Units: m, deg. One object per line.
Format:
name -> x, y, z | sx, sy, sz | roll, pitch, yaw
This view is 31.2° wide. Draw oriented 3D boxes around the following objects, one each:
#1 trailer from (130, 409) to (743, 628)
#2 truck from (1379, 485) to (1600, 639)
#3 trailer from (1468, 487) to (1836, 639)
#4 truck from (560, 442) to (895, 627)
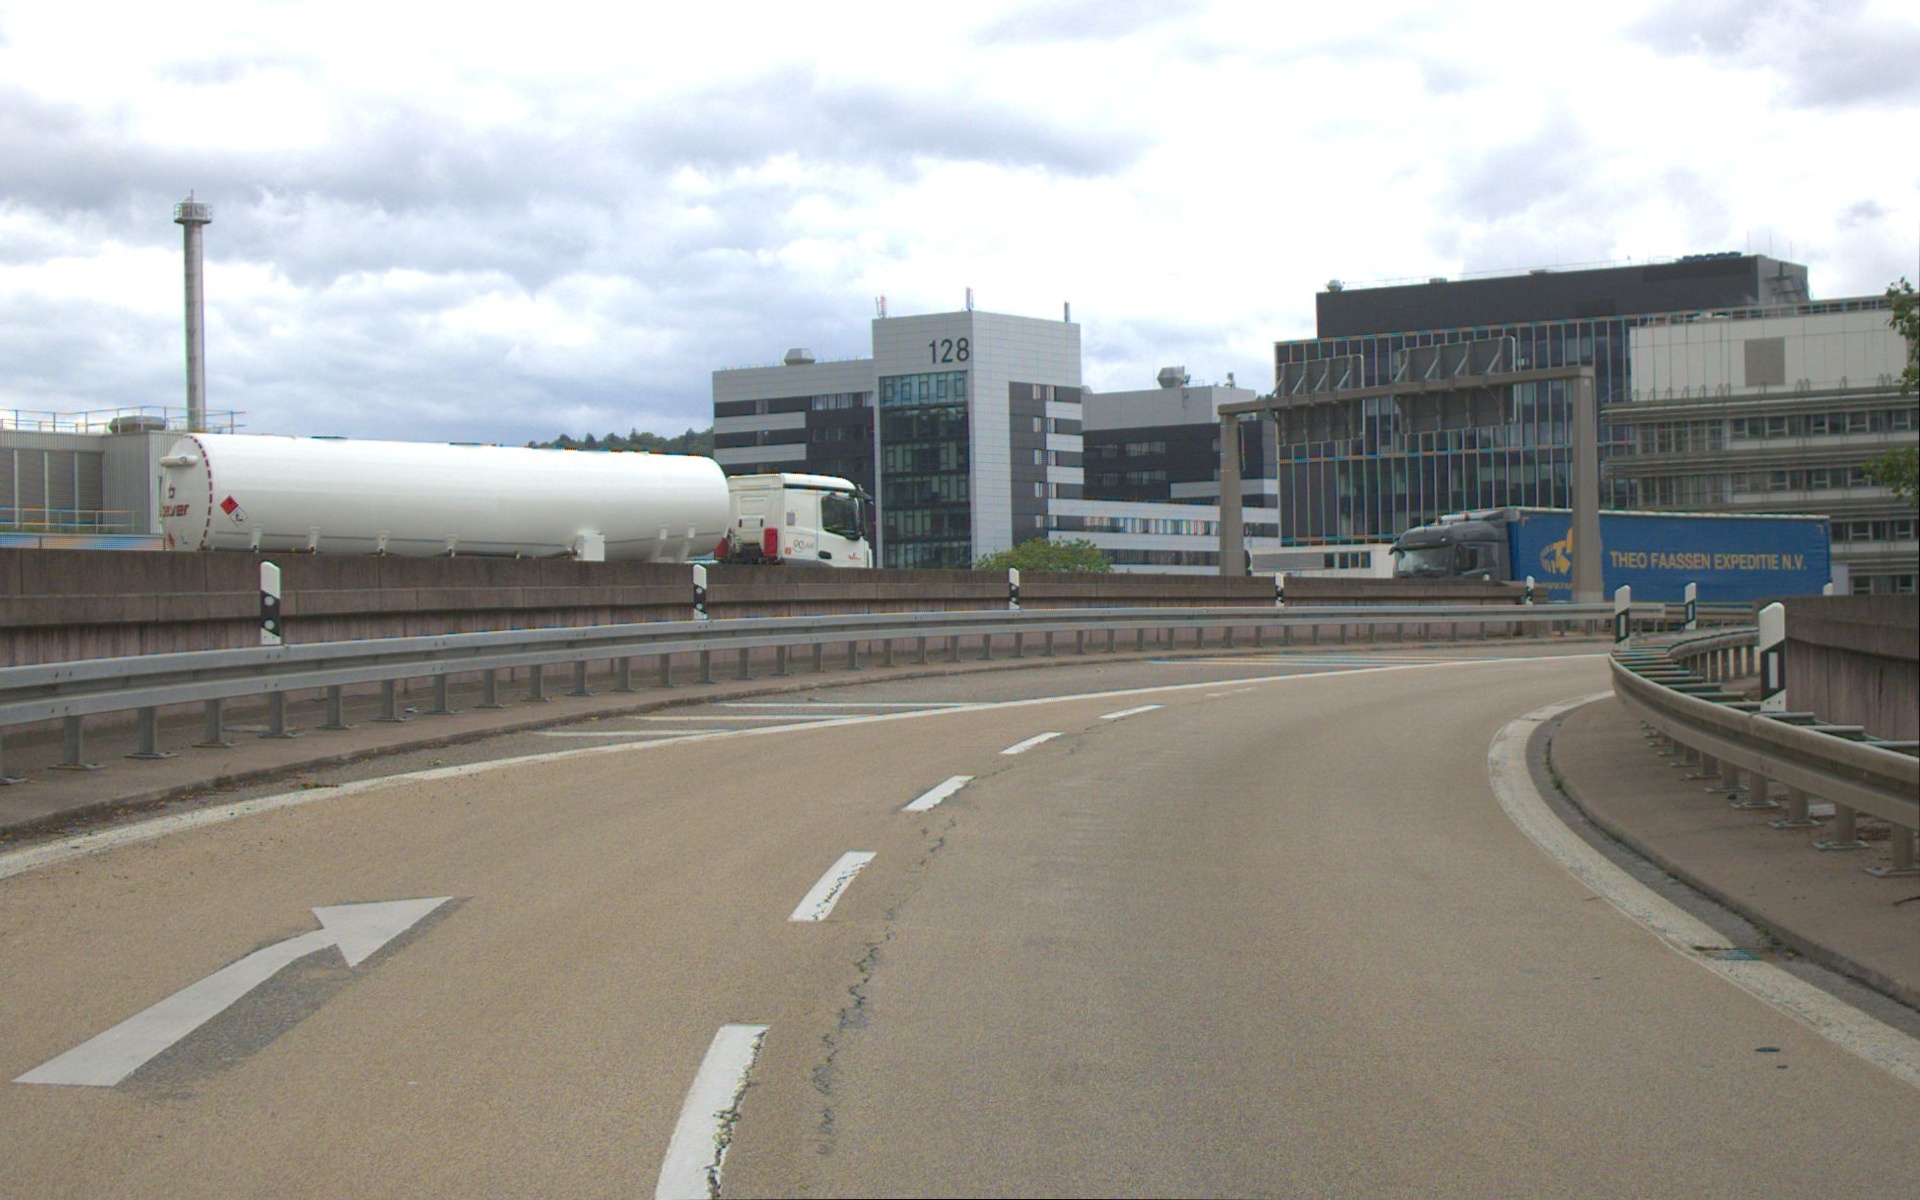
trailer -> -9.428, -1.383, 63.147 | 11.120, 3.725, 2.800 | 0, -1, -37
truck -> 15.349, -1.047, 99.584 | 5.676, 4.332, 3.171 | 0, -1, -35
trailer -> 20.979, -1.044, 103.603 | 12.478, 4.332, 3.171 | 0, -1, -36
truck -> -4.489, -1.214, 66.850 | 5.946, 3.419, 2.777 | 0, -1, -37
